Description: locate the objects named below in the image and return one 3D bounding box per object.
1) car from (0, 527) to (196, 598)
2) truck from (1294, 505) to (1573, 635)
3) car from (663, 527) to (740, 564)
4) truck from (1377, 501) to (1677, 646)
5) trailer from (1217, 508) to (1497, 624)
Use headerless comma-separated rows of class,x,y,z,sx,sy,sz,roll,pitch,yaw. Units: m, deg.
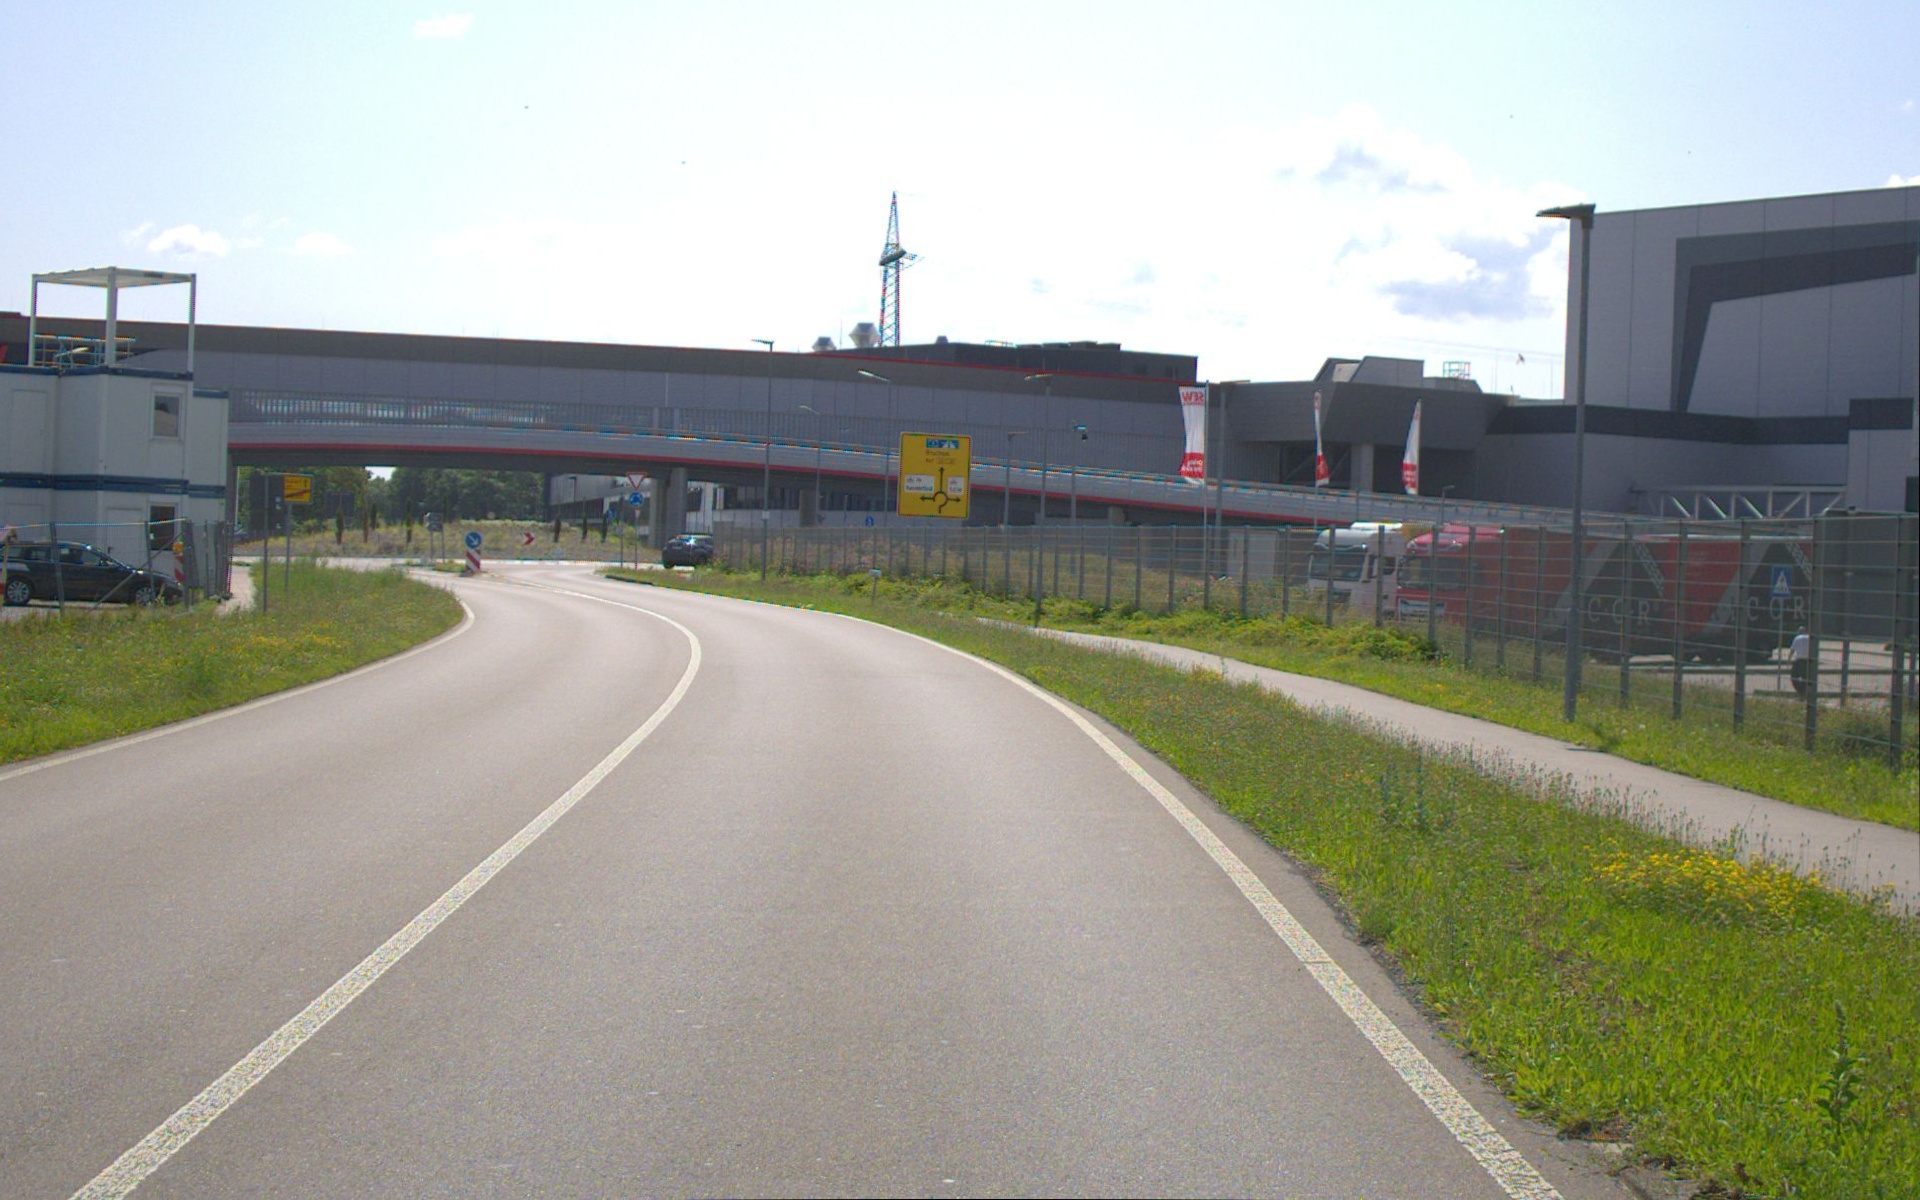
car,-19.877,-0.859,77.416,4.967,1.412,2.001,2,2,-20
truck,15.847,-0.961,114.289,10.943,4.158,2.821,0,1,-43
car,-10.992,-2.301,146.269,1.995,1.539,3.997,1,1,16
truck,17.478,-0.789,105.275,10.944,4.242,3.027,0,1,-44
trailer,15.973,-1.323,136.943,14.025,4.423,2.765,0,1,-44
